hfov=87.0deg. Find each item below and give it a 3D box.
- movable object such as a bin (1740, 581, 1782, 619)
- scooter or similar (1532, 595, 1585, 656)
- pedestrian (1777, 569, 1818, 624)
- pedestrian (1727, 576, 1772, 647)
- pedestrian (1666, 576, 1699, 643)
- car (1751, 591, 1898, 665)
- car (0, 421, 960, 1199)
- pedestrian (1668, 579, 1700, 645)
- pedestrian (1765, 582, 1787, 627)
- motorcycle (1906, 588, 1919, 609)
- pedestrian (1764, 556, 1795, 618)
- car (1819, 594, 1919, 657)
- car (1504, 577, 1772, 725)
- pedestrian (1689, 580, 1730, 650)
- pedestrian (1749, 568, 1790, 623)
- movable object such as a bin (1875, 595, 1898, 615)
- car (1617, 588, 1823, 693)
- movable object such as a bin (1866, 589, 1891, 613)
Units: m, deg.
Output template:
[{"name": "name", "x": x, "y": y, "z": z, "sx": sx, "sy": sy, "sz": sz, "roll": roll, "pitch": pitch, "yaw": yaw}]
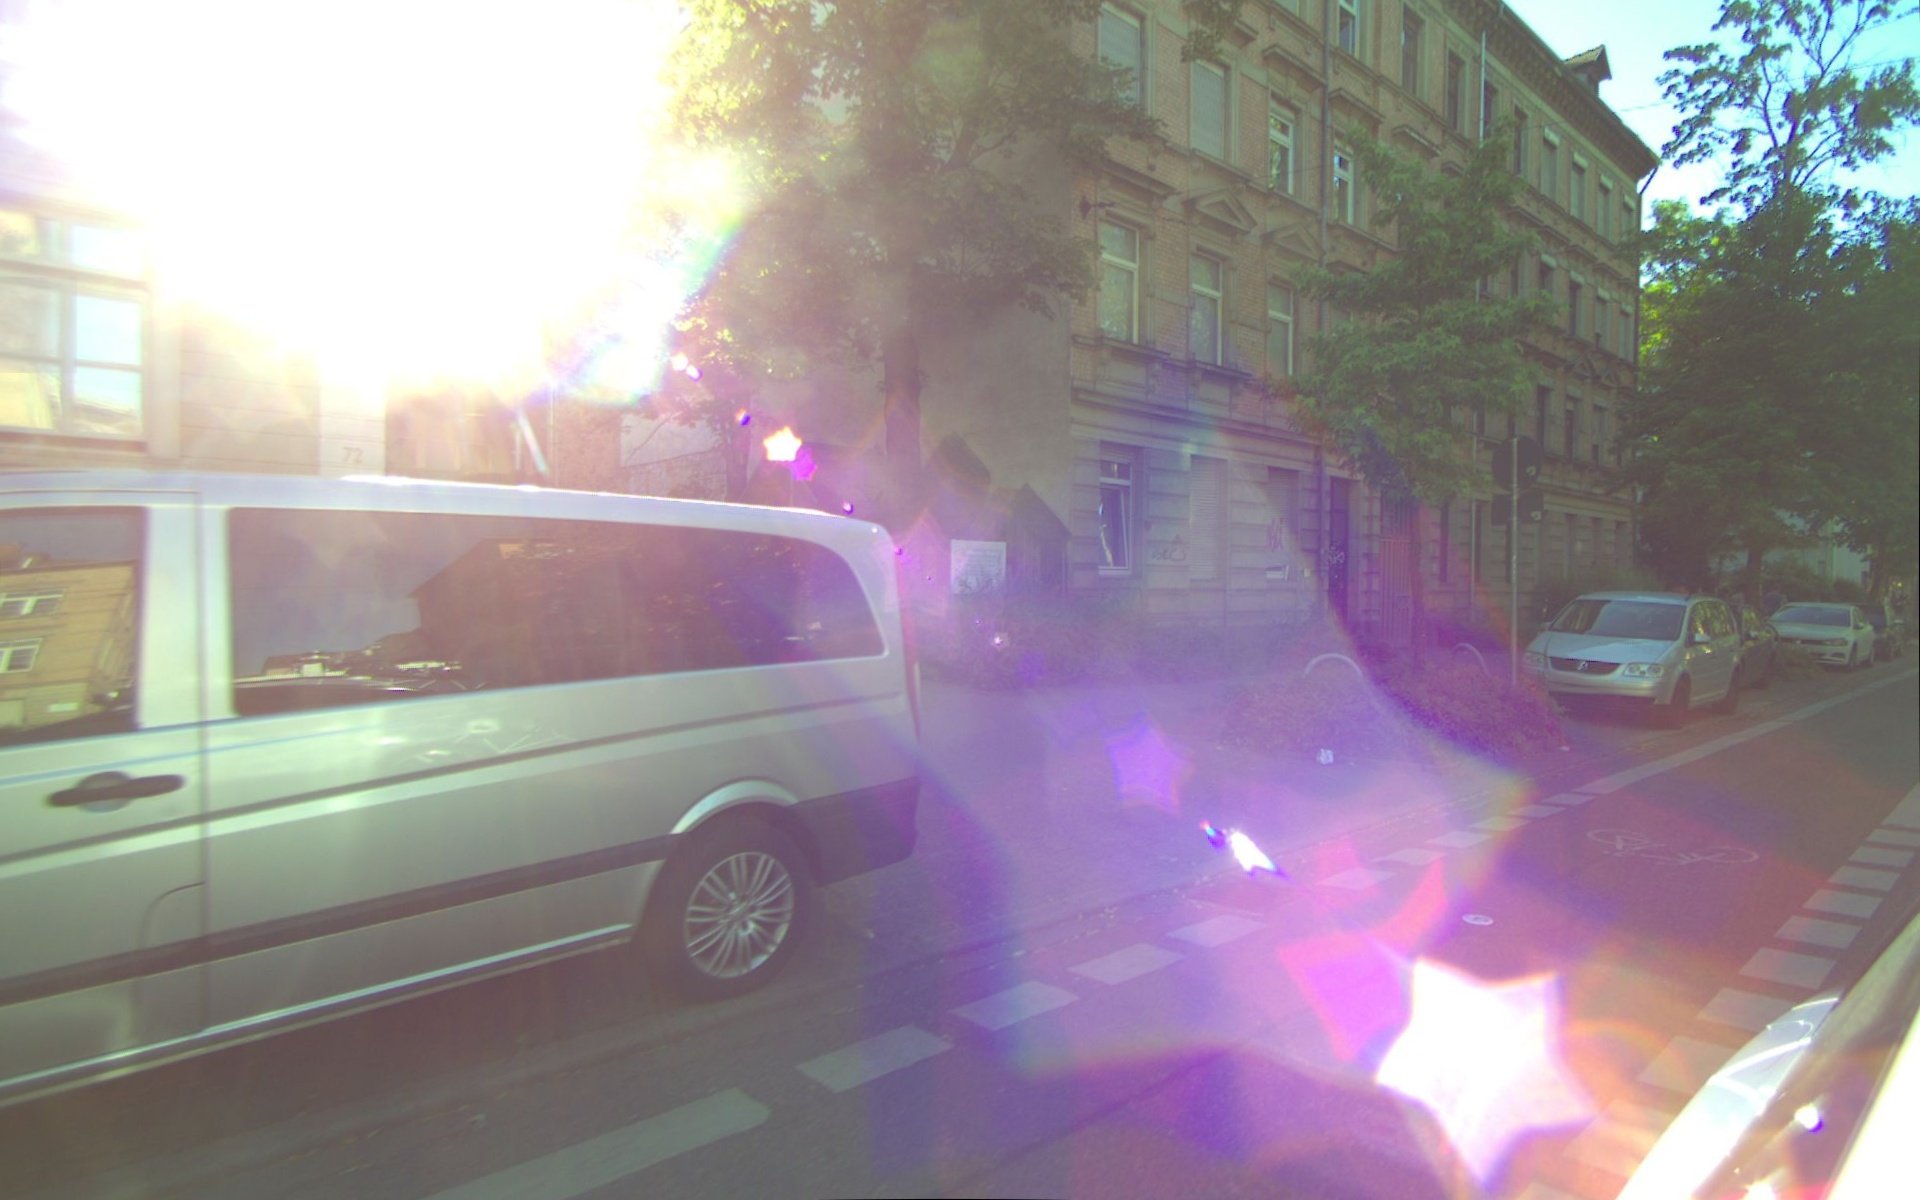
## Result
[{"name": "movable object such as a bin", "x": 26.959, "y": 0.001, "z": 34.064, "sx": 1.279, "sy": 1.217, "sz": 0.642, "roll": 1, "pitch": 2, "yaw": -30}, {"name": "scooter or similar", "x": 12.805, "y": 0.522, "z": 21.631, "sx": 1.311, "sy": 1.262, "sz": 0.577, "roll": 0, "pitch": 0, "yaw": -40}, {"name": "pedestrian", "x": 28.308, "y": -0.116, "z": 34.208, "sx": 0.836, "sy": 1.815, "sz": 0.729, "roll": 1, "pitch": 2, "yaw": -30}, {"name": "pedestrian", "x": 19.408, "y": 0.264, "z": 24.869, "sx": 0.940, "sy": 1.714, "sz": 0.727, "roll": 0, "pitch": 0, "yaw": -42}, {"name": "pedestrian", "x": 19.953, "y": 0.245, "z": 27.958, "sx": 0.716, "sy": 1.816, "sz": 0.599, "roll": 0, "pitch": 0, "yaw": -42}, {"name": "car", "x": 19.508, "y": 0.562, "z": 22.783, "sx": 4.035, "sy": 1.384, "sz": 1.888, "roll": -1, "pitch": 4, "yaw": -41}, {"name": "car", "x": -2.480, "y": 0.451, "z": 3.457, "sx": 4.881, "sy": 1.873, "sz": 1.888, "roll": -1, "pitch": 4, "yaw": -41}, {"name": "pedestrian", "x": 20.335, "y": 0.332, "z": 28.414, "sx": 0.716, "sy": 1.816, "sz": 0.599, "roll": 0, "pitch": 0, "yaw": -43}, {"name": "pedestrian", "x": 32.060, "y": 0.178, "z": 39.763, "sx": 0.615, "sy": 1.747, "sz": 0.547, "roll": 0, "pitch": 0, "yaw": 34}, {"name": "motorcycle", "x": 68.165, "y": -0.069, "z": 71.982, "sx": 2.605, "sy": 1.332, "sz": 0.954, "roll": 2, "pitch": 5, "yaw": -43}, {"name": "pedestrian", "x": 24.643, "y": -0.391, "z": 30.443, "sx": 0.725, "sy": 1.816, "sz": 0.592, "roll": 0, "pitch": 0, "yaw": 40}, {"name": "car", "x": 24.347, "y": 0.626, "z": 26.990, "sx": 3.777, "sy": 1.429, "sz": 1.676, "roll": -1, "pitch": 4, "yaw": -42}, {"name": "car", "x": 9.128, "y": 0.546, "z": 13.499, "sx": 4.168, "sy": 1.587, "sz": 1.888, "roll": -1, "pitch": 4, "yaw": -41}, {"name": "pedestrian", "x": 18.895, "y": 0.364, "z": 25.514, "sx": 0.842, "sy": 1.731, "sz": 0.726, "roll": 0, "pitch": 0, "yaw": -45}, {"name": "pedestrian", "x": 27.765, "y": -0.154, "z": 34.713, "sx": 0.948, "sy": 1.815, "sz": 0.729, "roll": 1, "pitch": 2, "yaw": -30}, {"name": "movable object such as a bin", "x": 53.972, "y": 0.300, "z": 58.959, "sx": 0.685, "sy": 1.124, "sz": 0.882, "roll": 0, "pitch": 3, "yaw": -42}, {"name": "car", "x": 13.229, "y": 0.591, "z": 17.527, "sx": 4.514, "sy": 1.484, "sz": 1.888, "roll": -1, "pitch": 4, "yaw": -41}, {"name": "movable object such as a bin", "x": 55.192, "y": 0.048, "z": 60.811, "sx": 0.811, "sy": 1.414, "sz": 1.001, "roll": 0, "pitch": 3, "yaw": -42}]
